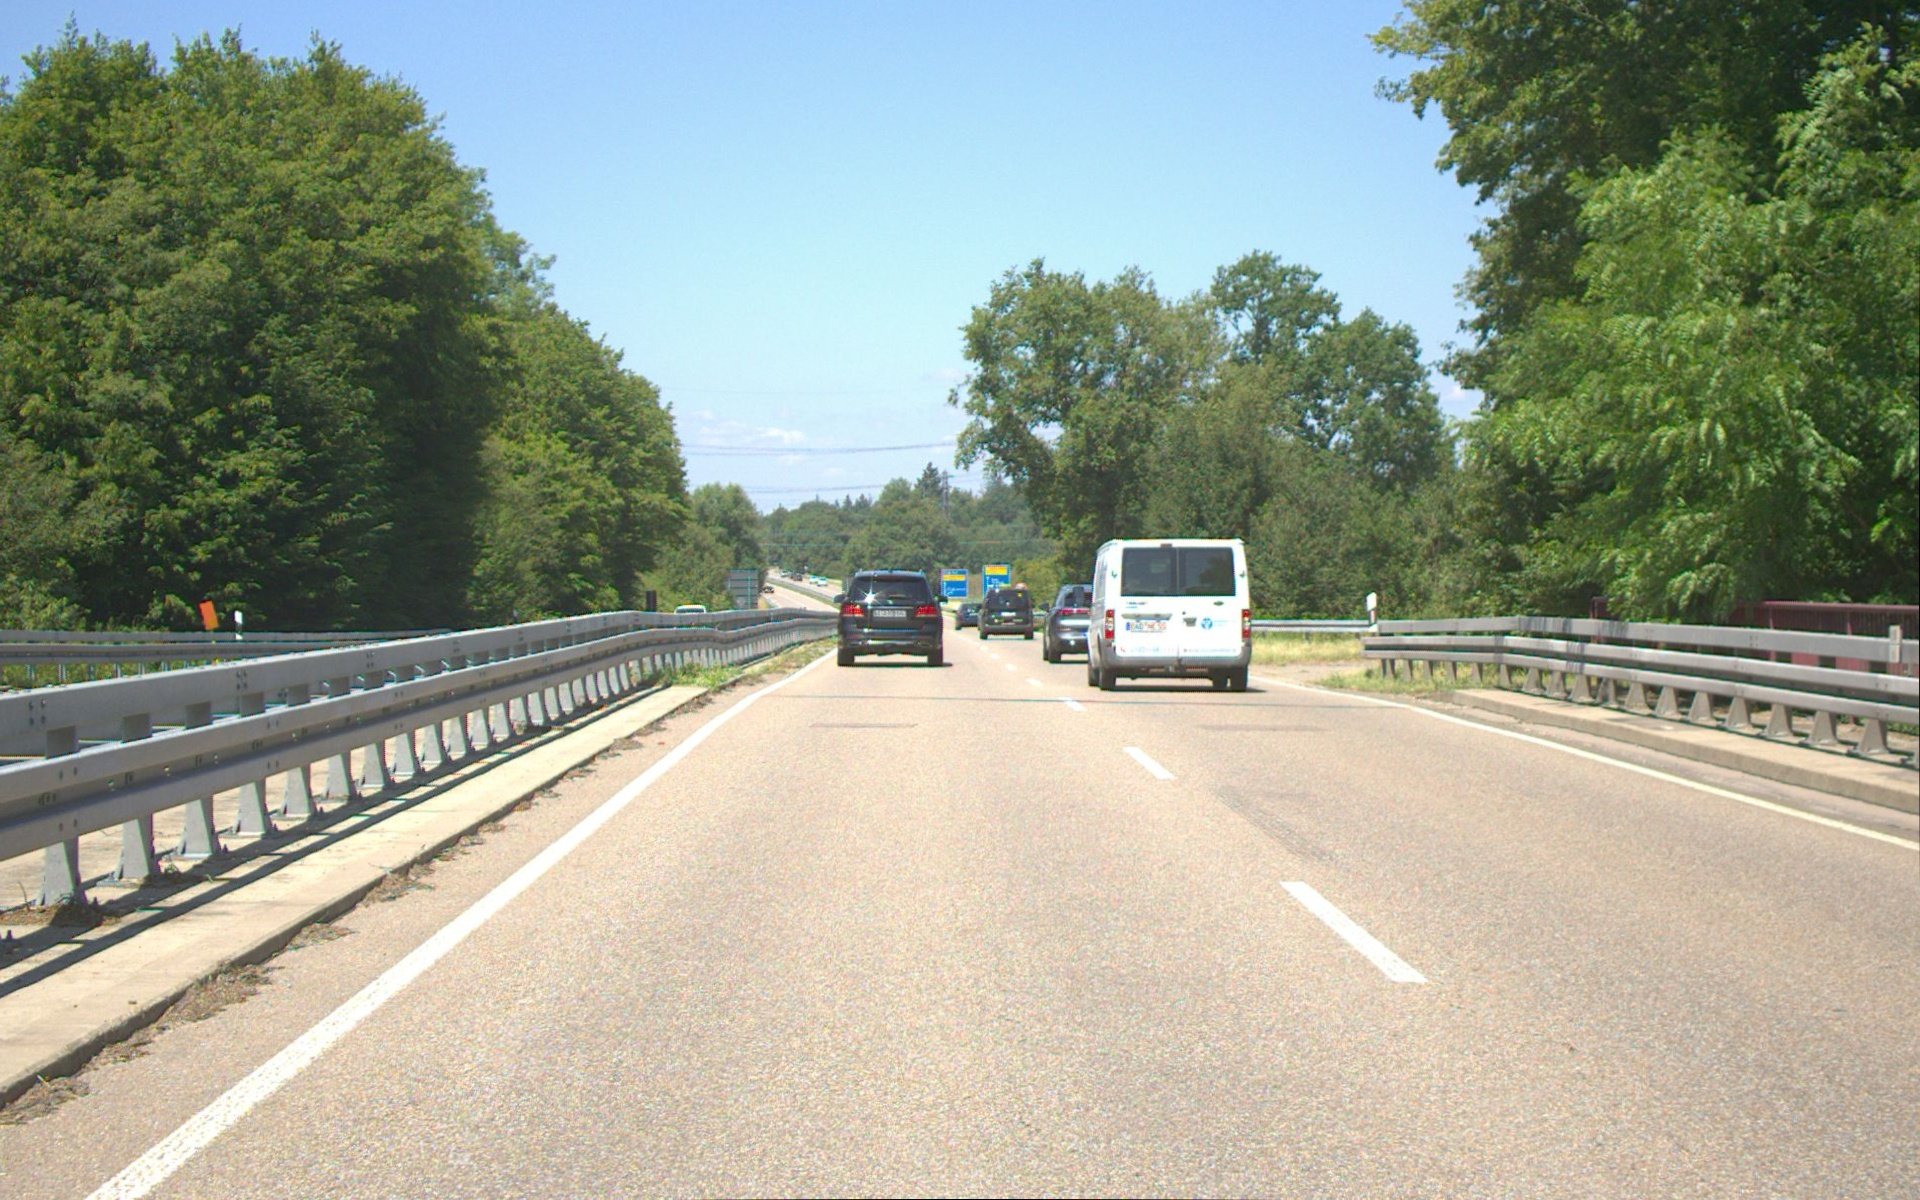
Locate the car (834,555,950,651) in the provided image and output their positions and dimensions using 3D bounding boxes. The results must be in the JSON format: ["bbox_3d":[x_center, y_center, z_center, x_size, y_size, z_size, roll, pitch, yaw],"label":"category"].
[{"bbox_3d":[-1.282,0.082,63.322,1.993,1.649,4.000,-1,-1,-3],"label":"car"}]

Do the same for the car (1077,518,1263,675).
[{"bbox_3d":[2.767,-0.018,46.345,2.005,1.982,5.034,-1,-1,-2],"label":"car"}]

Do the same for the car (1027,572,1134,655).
[{"bbox_3d":[2.329,0.235,67.309,1.785,1.548,4.019,-1,1,-2],"label":"car"}]

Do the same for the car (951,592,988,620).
[{"bbox_3d":[0.507,0.337,185.575,1.819,1.409,4.000,-2,1,-1],"label":"car"}]

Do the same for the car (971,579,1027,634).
[{"bbox_3d":[1.332,0.221,120.126,1.779,1.810,4.213,-2,1,-1],"label":"car"}]
